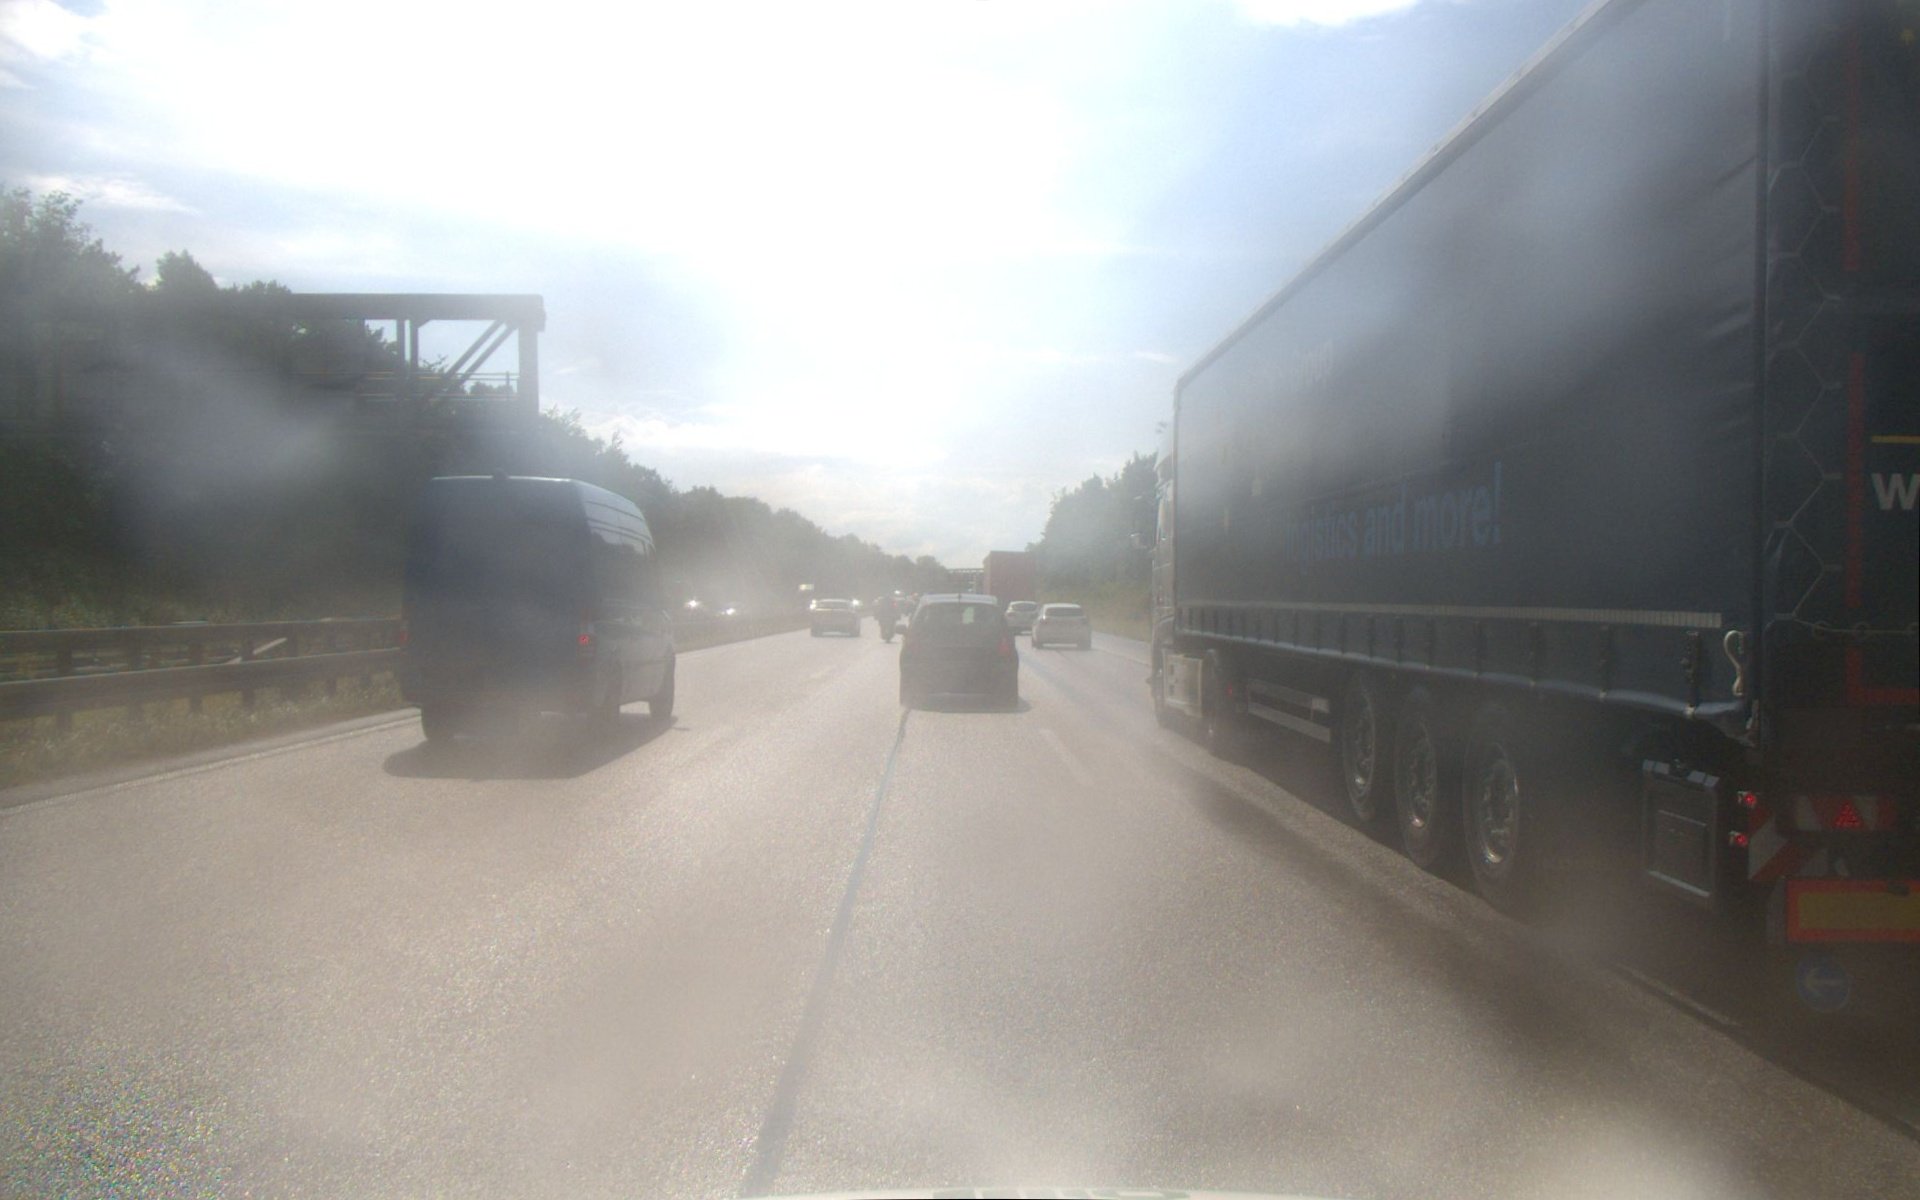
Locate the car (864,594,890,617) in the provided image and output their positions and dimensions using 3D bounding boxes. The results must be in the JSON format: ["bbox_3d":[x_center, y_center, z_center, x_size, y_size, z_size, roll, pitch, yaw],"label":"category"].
[{"bbox_3d":[-6.150,0.392,123.344,1.855,1.656,4.193,0,0,-2],"label":"car"}]

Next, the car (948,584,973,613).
[{"bbox_3d":[0.026,-0.108,116.028,1.641,1.970,3.772,0,0,-2],"label":"car"}]

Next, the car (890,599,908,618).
[{"bbox_3d":[-5.542,0.767,150.632,1.641,1.625,3.435,0,0,-2],"label":"car"}]

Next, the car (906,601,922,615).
[{"bbox_3d":[-4.924,0.845,176.492,1.641,1.516,3.435,0,0,-2],"label":"car"}]

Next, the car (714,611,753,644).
[{"bbox_3d":[-14.512,1.771,106.231,1.953,2.049,4.731,1,0,-1],"label":"car"}]

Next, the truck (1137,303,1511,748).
[{"bbox_3d":[3.953,-0.723,19.439,2.990,4.401,5.884,1,0,-1],"label":"truck"}]

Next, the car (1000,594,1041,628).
[{"bbox_3d":[2.707,0.478,74.608,1.641,1.516,3.435,0,0,-2],"label":"car"}]

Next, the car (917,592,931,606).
[{"bbox_3d":[-5.287,-0.108,241.601,1.953,2.049,3.998,1,0,-2],"label":"car"}]

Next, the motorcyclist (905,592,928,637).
[{"bbox_3d":[-1.762,0.581,66.684,0.805,1.791,1.388,1,-1,-6],"label":"motorcyclist"}]

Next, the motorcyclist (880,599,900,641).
[{"bbox_3d":[-2.472,0.716,58.511,0.657,1.467,1.019,1,-1,-4],"label":"motorcyclist"}]

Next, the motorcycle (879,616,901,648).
[{"bbox_3d":[-2.484,1.127,58.553,0.662,1.106,1.980,1,0,-4],"label":"motorcycle"}]

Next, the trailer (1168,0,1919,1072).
[{"bbox_3d":[4.031,-0.711,12.252,3.025,4.388,14.102,0,0,-1],"label":"trailer"}]

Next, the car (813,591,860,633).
[{"bbox_3d":[-5.021,0.477,67.632,1.723,1.622,4.329,0,0,-2],"label":"car"}]

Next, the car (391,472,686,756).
[{"bbox_3d":[-4.492,0.137,18.636,1.975,2.695,5.775,0,0,-2],"label":"car"}]

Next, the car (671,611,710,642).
[{"bbox_3d":[-18.252,1.758,112.317,1.953,2.049,4.731,1,0,-1],"label":"car"}]

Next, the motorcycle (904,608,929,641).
[{"bbox_3d":[-1.764,0.972,66.657,0.804,1.285,2.115,1,0,-6],"label":"motorcycle"}]

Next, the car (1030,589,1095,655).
[{"bbox_3d":[3.302,0.714,53.975,1.811,2.049,4.086,1,0,-1],"label":"car"}]

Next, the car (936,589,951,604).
[{"bbox_3d":[-1.813,-0.384,179.043,1.599,1.516,3.435,0,0,-2],"label":"car"}]

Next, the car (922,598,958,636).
[{"bbox_3d":[-1.147,0.945,92.883,1.953,2.049,3.998,1,0,-2],"label":"car"}]

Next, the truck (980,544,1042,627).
[{"bbox_3d":[2.844,-0.777,94.950,3.137,4.481,9.430,0,0,-1],"label":"truck"}]

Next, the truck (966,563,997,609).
[{"bbox_3d":[2.239,-1.396,175.989,2.823,4.769,12.654,1,0,-1],"label":"truck"}]

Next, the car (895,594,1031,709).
[{"bbox_3d":[-0.015,0.714,25.187,1.876,1.592,4.312,0,0,-2],"label":"car"}]

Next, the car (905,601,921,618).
[{"bbox_3d":[-5.577,1.114,196.377,1.953,2.049,3.998,1,0,-2],"label":"car"}]
